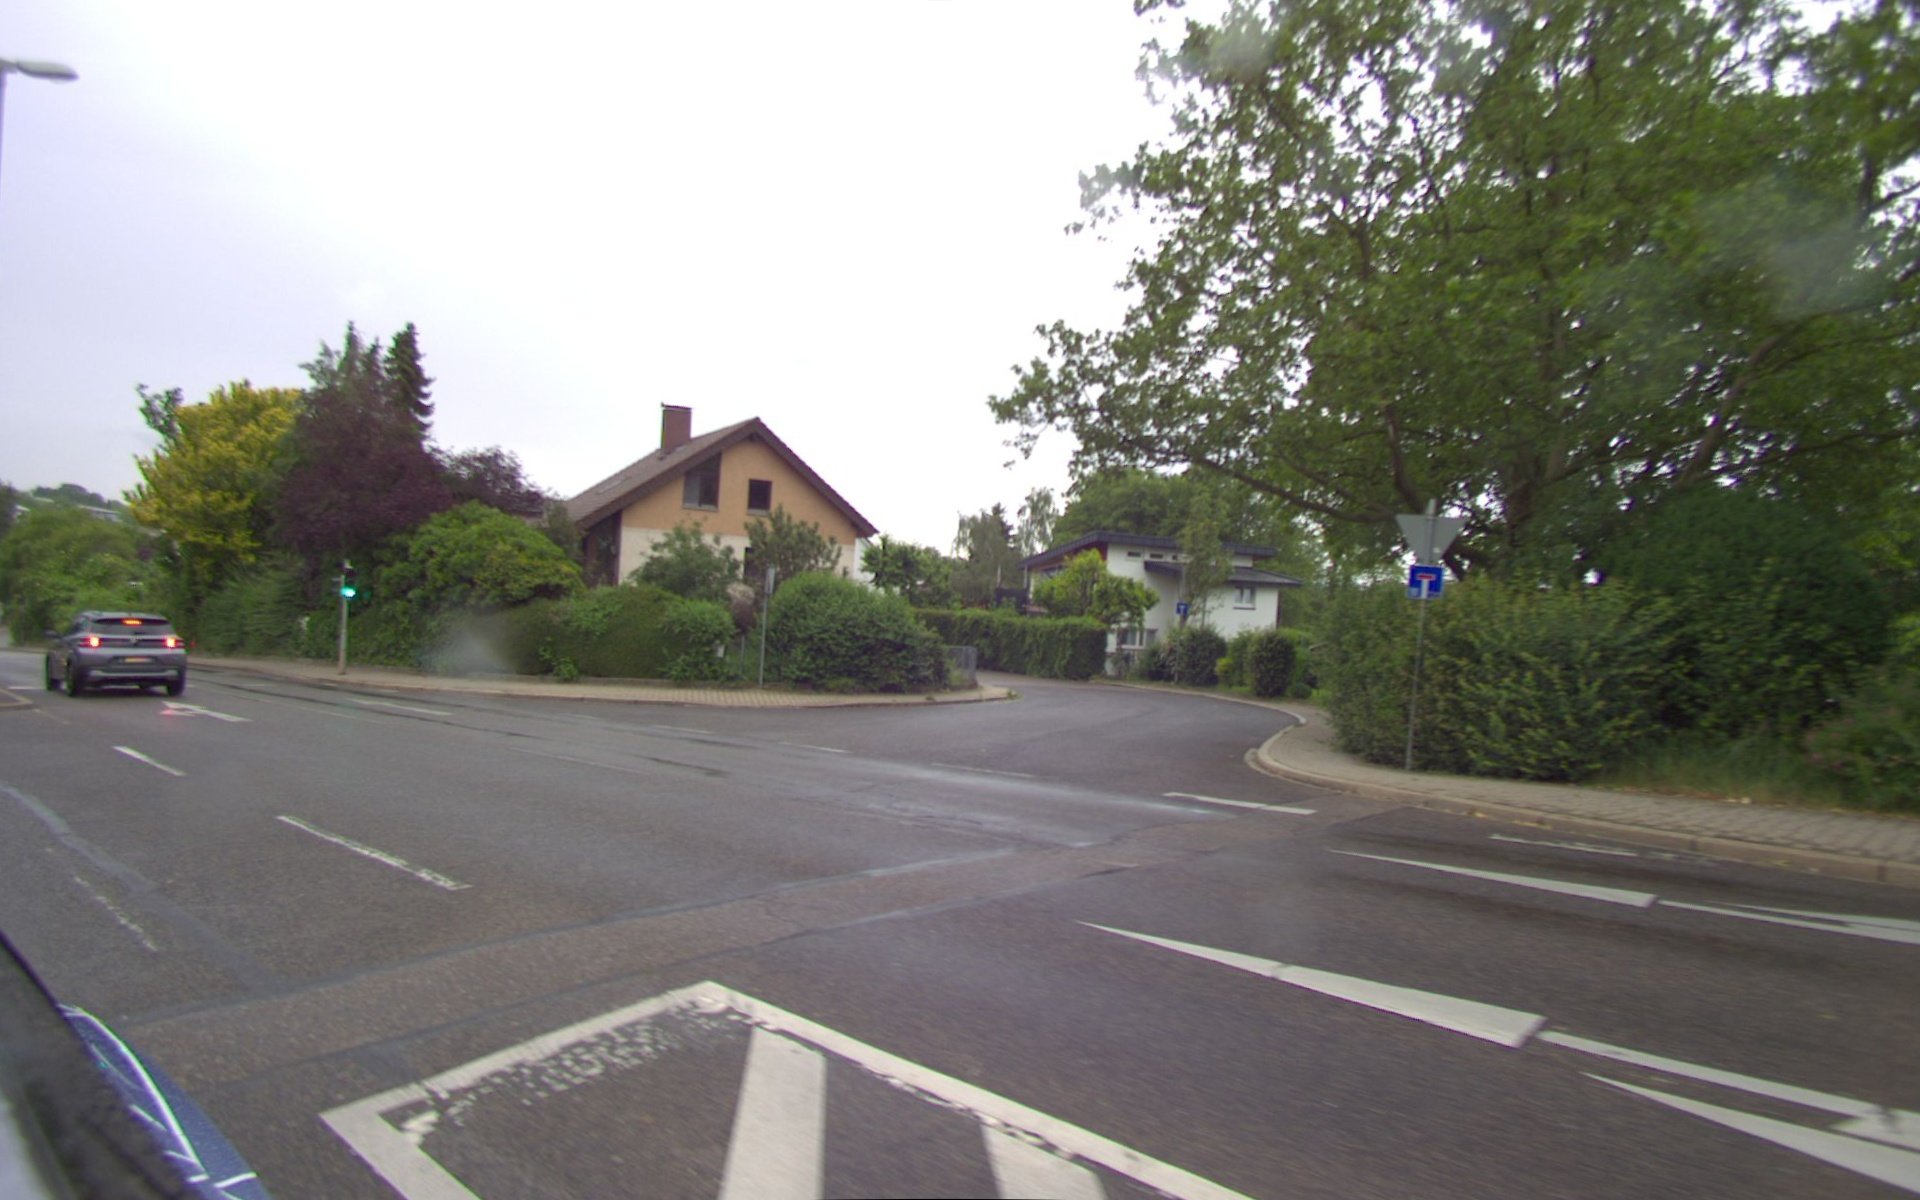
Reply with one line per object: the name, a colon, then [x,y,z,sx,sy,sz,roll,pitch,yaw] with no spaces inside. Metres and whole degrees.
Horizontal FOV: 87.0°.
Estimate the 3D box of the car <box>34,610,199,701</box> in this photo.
car: [-16.535,1.047,19.797,3.728,1.615,1.777,-1,-3,40]
